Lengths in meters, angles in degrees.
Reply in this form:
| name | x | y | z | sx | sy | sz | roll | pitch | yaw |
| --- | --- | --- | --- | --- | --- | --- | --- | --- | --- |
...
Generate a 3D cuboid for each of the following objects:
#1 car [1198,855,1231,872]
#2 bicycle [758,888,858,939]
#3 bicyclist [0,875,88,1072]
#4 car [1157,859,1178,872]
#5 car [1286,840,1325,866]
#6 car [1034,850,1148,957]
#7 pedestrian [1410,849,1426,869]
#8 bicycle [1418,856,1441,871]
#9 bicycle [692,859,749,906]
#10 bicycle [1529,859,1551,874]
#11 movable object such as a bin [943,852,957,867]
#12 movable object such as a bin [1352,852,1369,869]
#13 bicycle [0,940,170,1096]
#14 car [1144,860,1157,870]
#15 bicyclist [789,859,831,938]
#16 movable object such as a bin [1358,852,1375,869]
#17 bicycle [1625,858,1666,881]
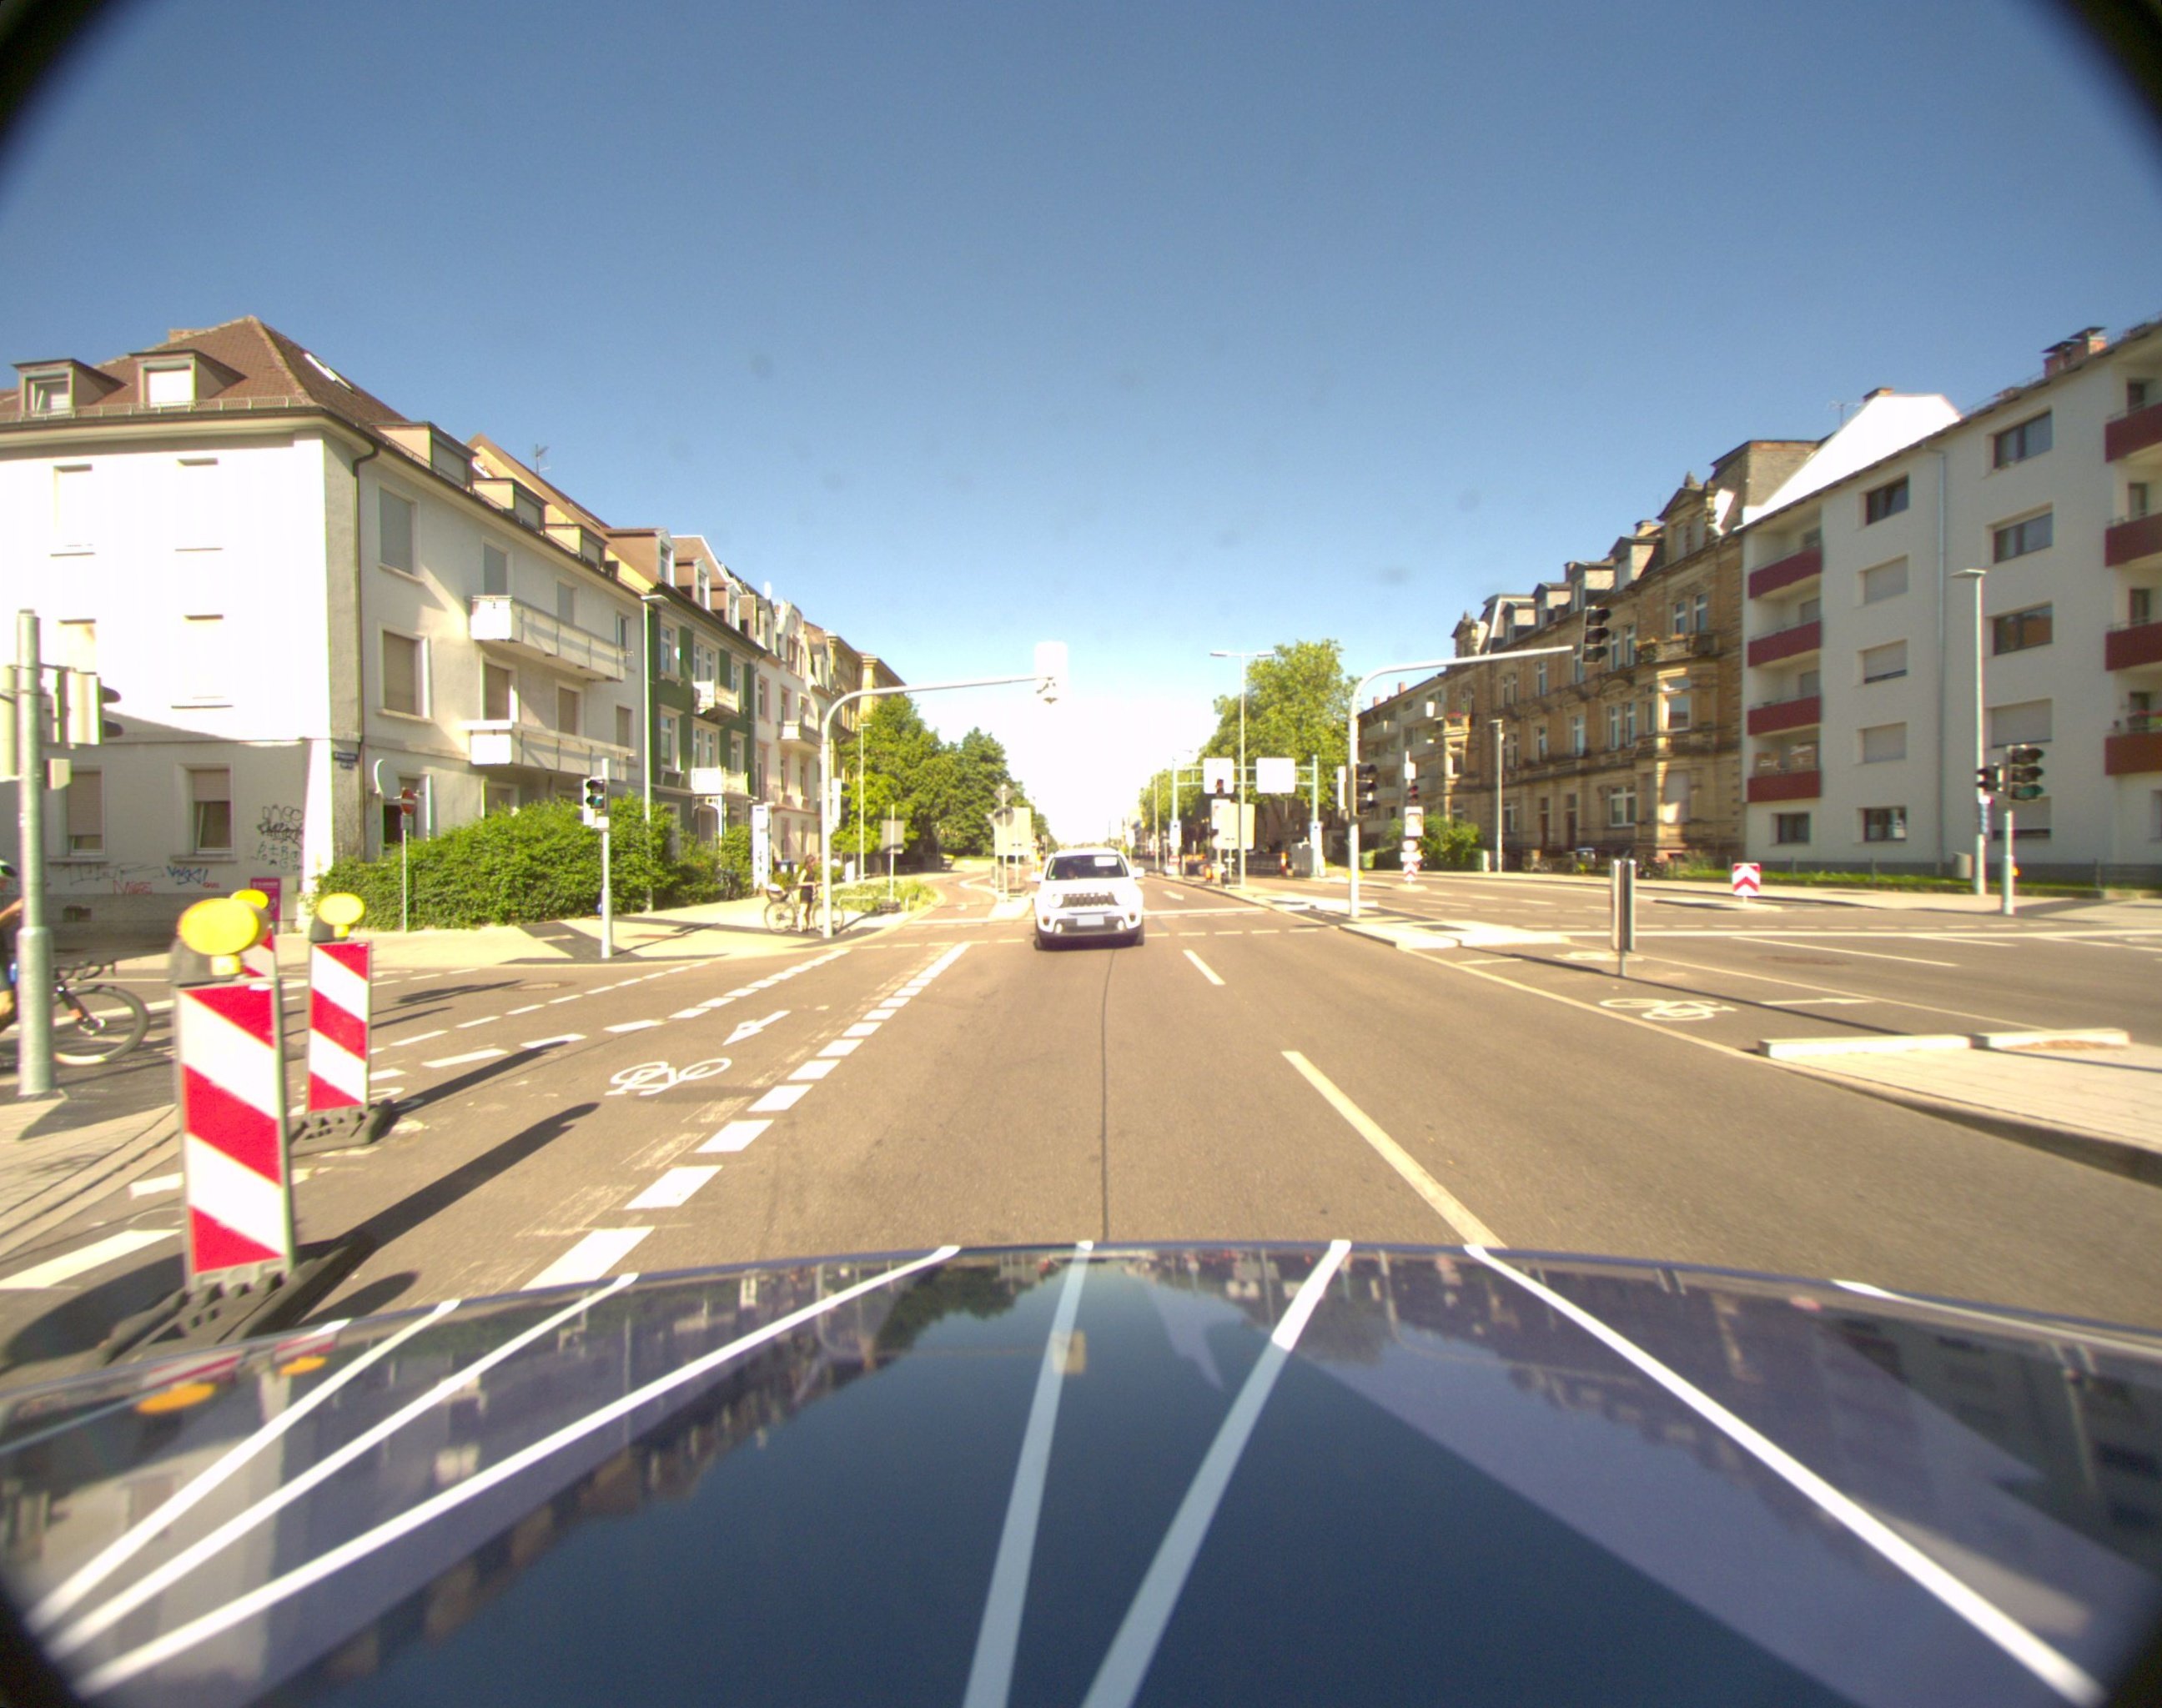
| name | x | y | z | sx | sy | sz | roll | pitch | yaw |
| --- | --- | --- | --- | --- | --- | --- | --- | --- | --- |
| car | 11.200 | 0.849 | 63.978 | 1.936 | 1.337 | 4.316 | -1 | -1 | -2 |
| bicycle | -6.046 | 1.320 | 16.893 | 1.967 | 1.019 | 0.605 | -2 | 0 | -1 |
| bicyclist | -8.737 | 0.932 | 5.992 | 0.872 | 1.491 | 0.724 | -1 | 1 | -32 |
| car | 10.538 | 1.464 | 92.840 | 1.999 | 1.444 | 4.391 | -3 | -1 | -2 |
| car | 22.055 | -0.061 | 74.794 | 2.250 | 2.431 | 5.288 | 1 | -1 | 1 |
| car | 0.132 | 0.808 | 13.718 | 1.744 | 1.647 | 3.690 | -1 | -1 | -1 |
| pedestrian | 23.159 | 0.352 | 52.168 | 0.568 | 1.369 | 1.090 | -1 | 0 | -2 |
| bicycle | 23.747 | 0.665 | 51.804 | 0.468 | 0.999 | 2.250 | -2 | 0 | -2 |
| bicycle | -11.952 | 0.914 | 25.283 | 0.710 | 1.435 | 2.491 | -2 | 0 | -1 |
| bicycle | 23.941 | 0.647 | 39.618 | 0.299 | 0.766 | 1.414 | -1 | 0 | 1 |
| movable object such as a bin | -12.501 | 0.544 | 72.563 | 0.975 | 1.389 | 1.285 | 2 | -1 | -23 |
| movable object such as a bin | 23.178 | 0.534 | 62.938 | 0.895 | 1.354 | 1.314 | 1 | -1 | -1 |
| bicycle | -8.656 | 1.321 | 6.020 | 1.689 | 1.091 | 0.689 | -1 | 0 | -32 |
| car | 11.138 | 1.725 | 121.297 | 1.611 | 1.432 | 4.311 | 2 | 0 | 0 |
| bicyclist | -5.996 | 0.970 | 16.835 | 0.605 | 1.698 | 0.858 | -1 | 0 | 0 |
| movable object such as a bin | 23.115 | 0.518 | 61.545 | 0.895 | 1.352 | 1.474 | 1 | -1 | 1 |
| bicycle | 23.921 | 0.652 | 32.214 | 0.305 | 0.952 | 1.940 | 0 | 0 | 0 |
